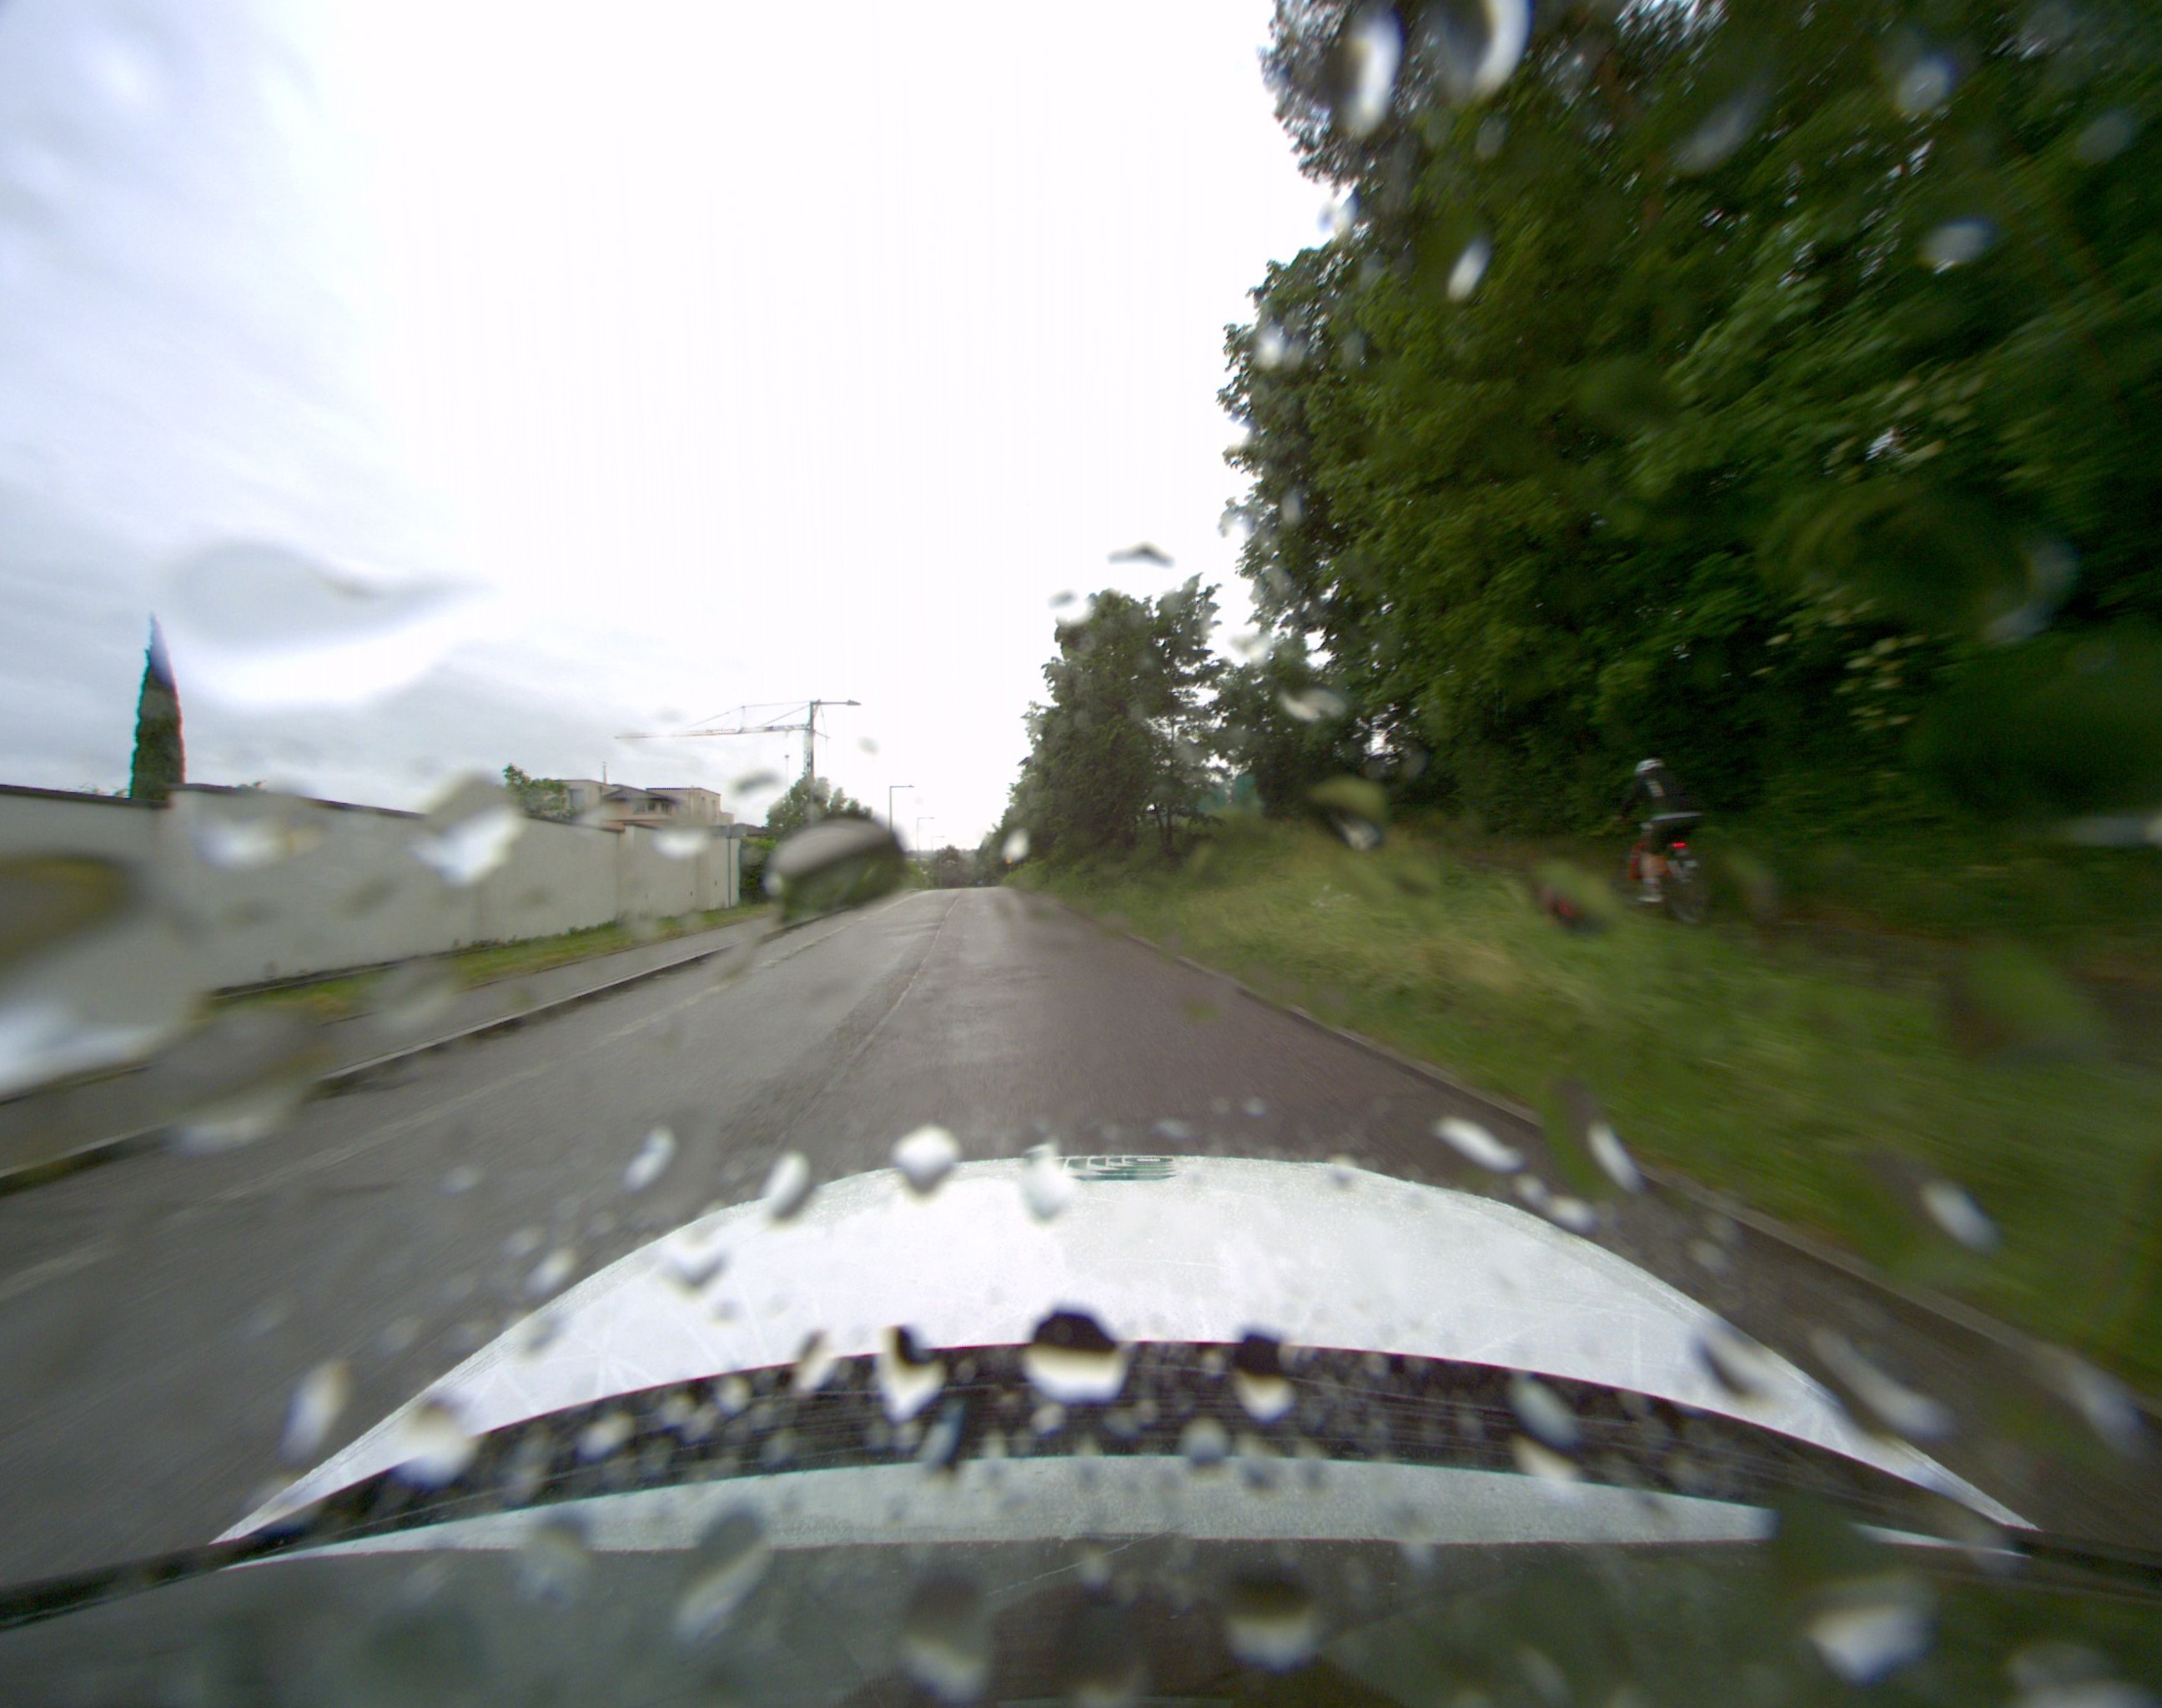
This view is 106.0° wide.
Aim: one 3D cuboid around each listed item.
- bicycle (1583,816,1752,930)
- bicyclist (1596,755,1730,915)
[{"bbox_3d":[6.218,0.148,8.753,0.526,1.084,1.618,-2,3,-6],"label":"bicycle"},{"bbox_3d":[6.195,-0.226,8.720,0.719,1.614,0.904,-1,4,-6],"label":"bicyclist"}]
